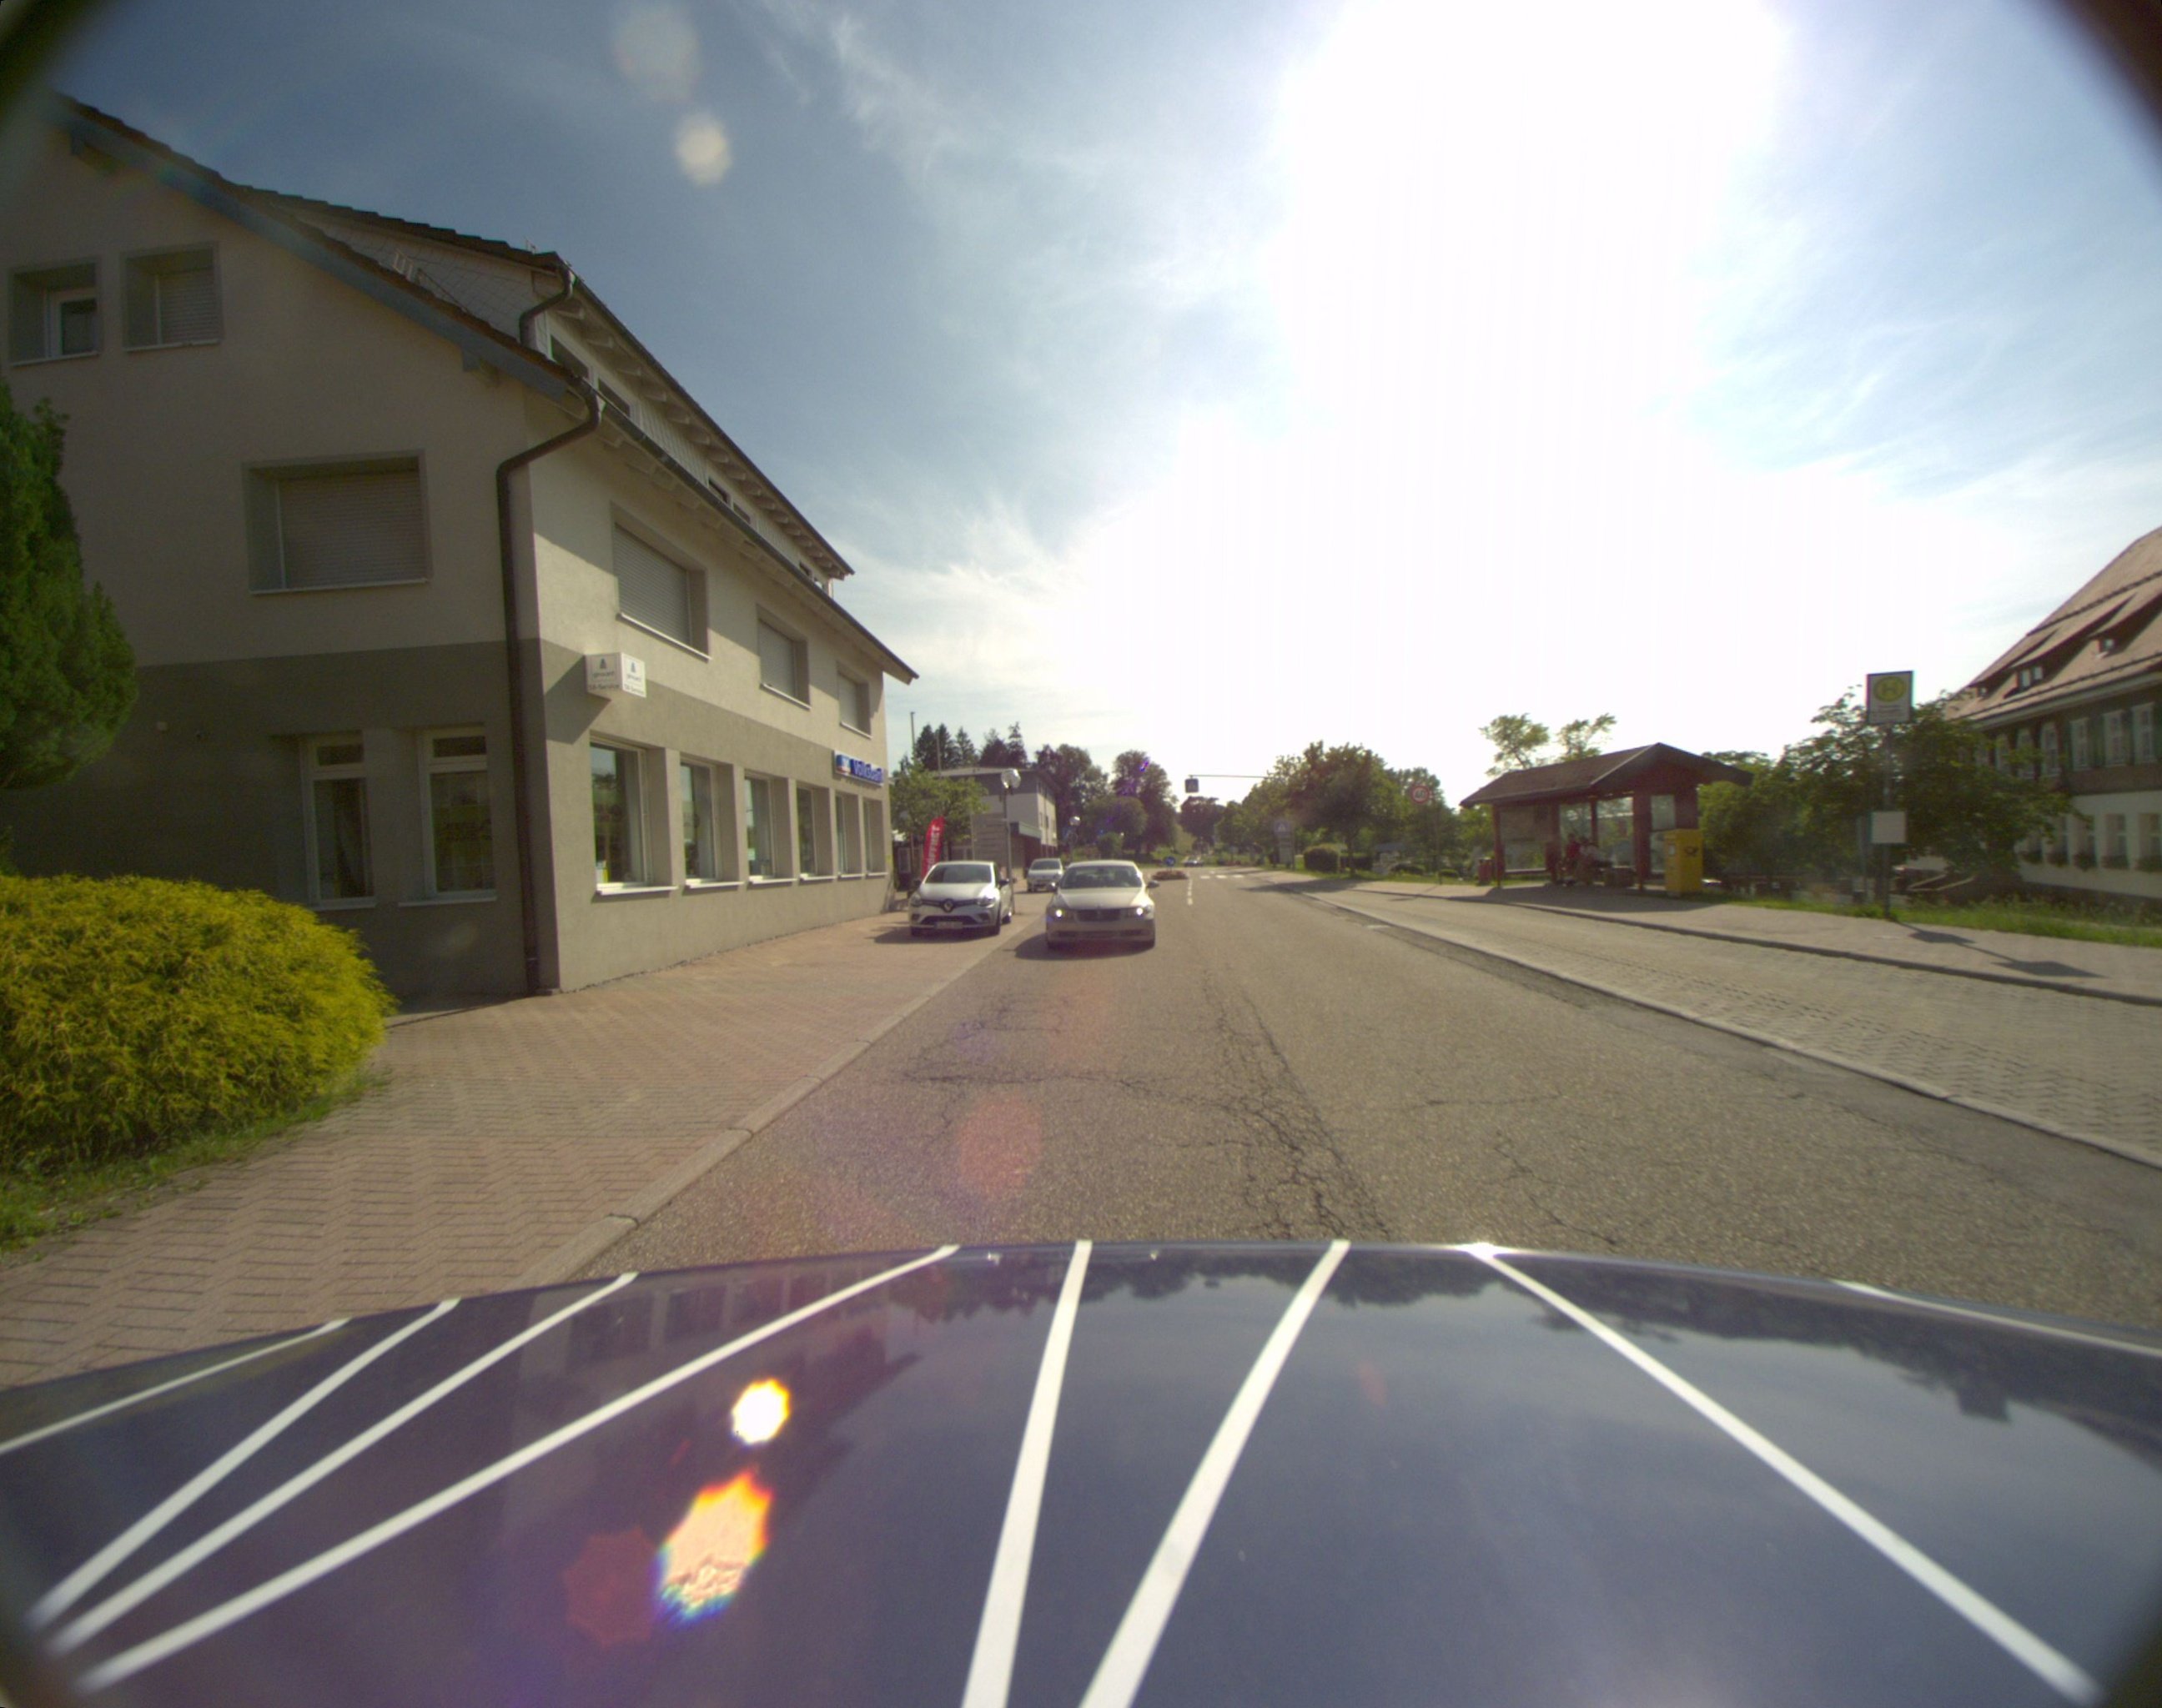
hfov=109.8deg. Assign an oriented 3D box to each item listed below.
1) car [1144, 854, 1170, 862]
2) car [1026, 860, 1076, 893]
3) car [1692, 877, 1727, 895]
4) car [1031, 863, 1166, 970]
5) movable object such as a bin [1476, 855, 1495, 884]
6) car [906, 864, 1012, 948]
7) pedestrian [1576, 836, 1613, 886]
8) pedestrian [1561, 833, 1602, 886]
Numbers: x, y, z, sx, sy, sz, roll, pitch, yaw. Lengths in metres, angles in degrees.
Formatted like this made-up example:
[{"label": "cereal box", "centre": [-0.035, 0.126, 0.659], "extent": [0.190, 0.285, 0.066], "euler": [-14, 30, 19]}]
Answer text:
[{"label": "car", "centre": [13.263, 0.705, 132.463], "extent": [4.254, 1.420, 1.706], "euler": [-1, 0, 37]}, {"label": "car", "centre": [-1.290, 0.981, 34.493], "extent": [1.764, 1.415, 3.635], "euler": [-1, 0, 6]}, {"label": "car", "centre": [60.253, 3.083, 72.913], "extent": [1.565, 1.630, 2.976], "euler": [0, -1, 17]}, {"label": "car", "centre": [0.356, 0.886, 12.758], "extent": [1.838, 1.360, 4.582], "euler": [-1, 0, 3]}, {"label": "movable object such as a bin", "centre": [11.940, 0.455, 22.430], "extent": [0.305, 0.832, 0.485], "euler": [-1, 1, 1]}, {"label": "car", "centre": [-2.395, 0.974, 15.790], "extent": [1.639, 1.411, 3.934], "euler": [-1, 0, -1]}, {"label": "pedestrian", "centre": [12.966, 0.184, 19.185], "extent": [0.630, 1.246, 0.423], "euler": [0, 1, 1]}, {"label": "pedestrian", "centre": [13.002, 0.147, 19.759], "extent": [0.619, 1.356, 0.674], "euler": [0, -1, 2]}]
